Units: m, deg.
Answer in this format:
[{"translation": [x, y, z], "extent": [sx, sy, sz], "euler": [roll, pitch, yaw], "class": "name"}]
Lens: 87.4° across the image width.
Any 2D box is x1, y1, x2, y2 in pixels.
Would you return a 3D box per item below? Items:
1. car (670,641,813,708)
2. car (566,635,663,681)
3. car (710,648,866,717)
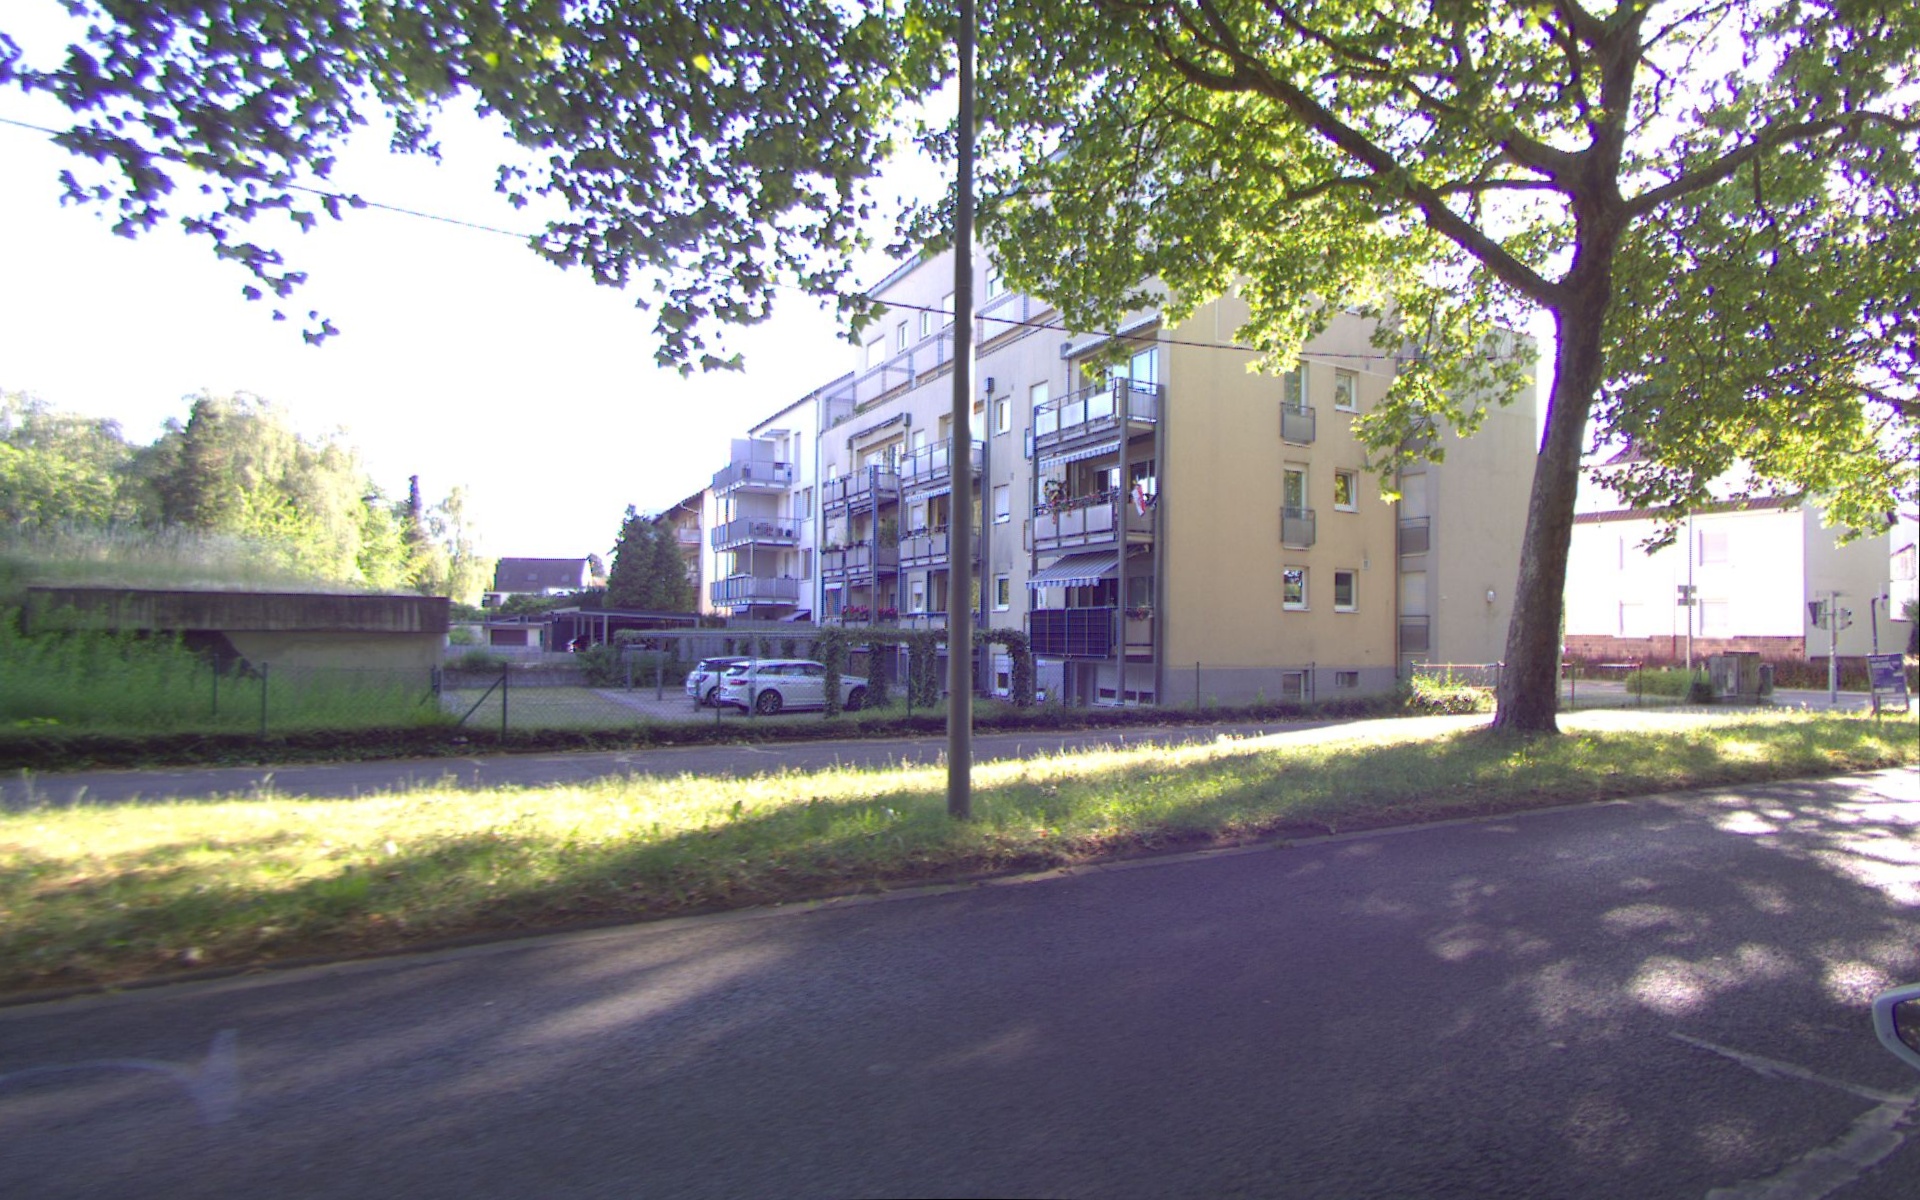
[{"translation": [-6.757, 2.255, 31.166], "extent": [3.954, 1.871, 1.840], "euler": [1, 0, -31], "class": "car"}, {"translation": [-15.973, 2.672, 46.461], "extent": [3.953, 2.040, 1.984], "euler": [2, -3, -30], "class": "car"}, {"translation": [-4.895, 2.283, 28.709], "extent": [3.958, 1.736, 1.981], "euler": [2, 0, -34], "class": "car"}]
